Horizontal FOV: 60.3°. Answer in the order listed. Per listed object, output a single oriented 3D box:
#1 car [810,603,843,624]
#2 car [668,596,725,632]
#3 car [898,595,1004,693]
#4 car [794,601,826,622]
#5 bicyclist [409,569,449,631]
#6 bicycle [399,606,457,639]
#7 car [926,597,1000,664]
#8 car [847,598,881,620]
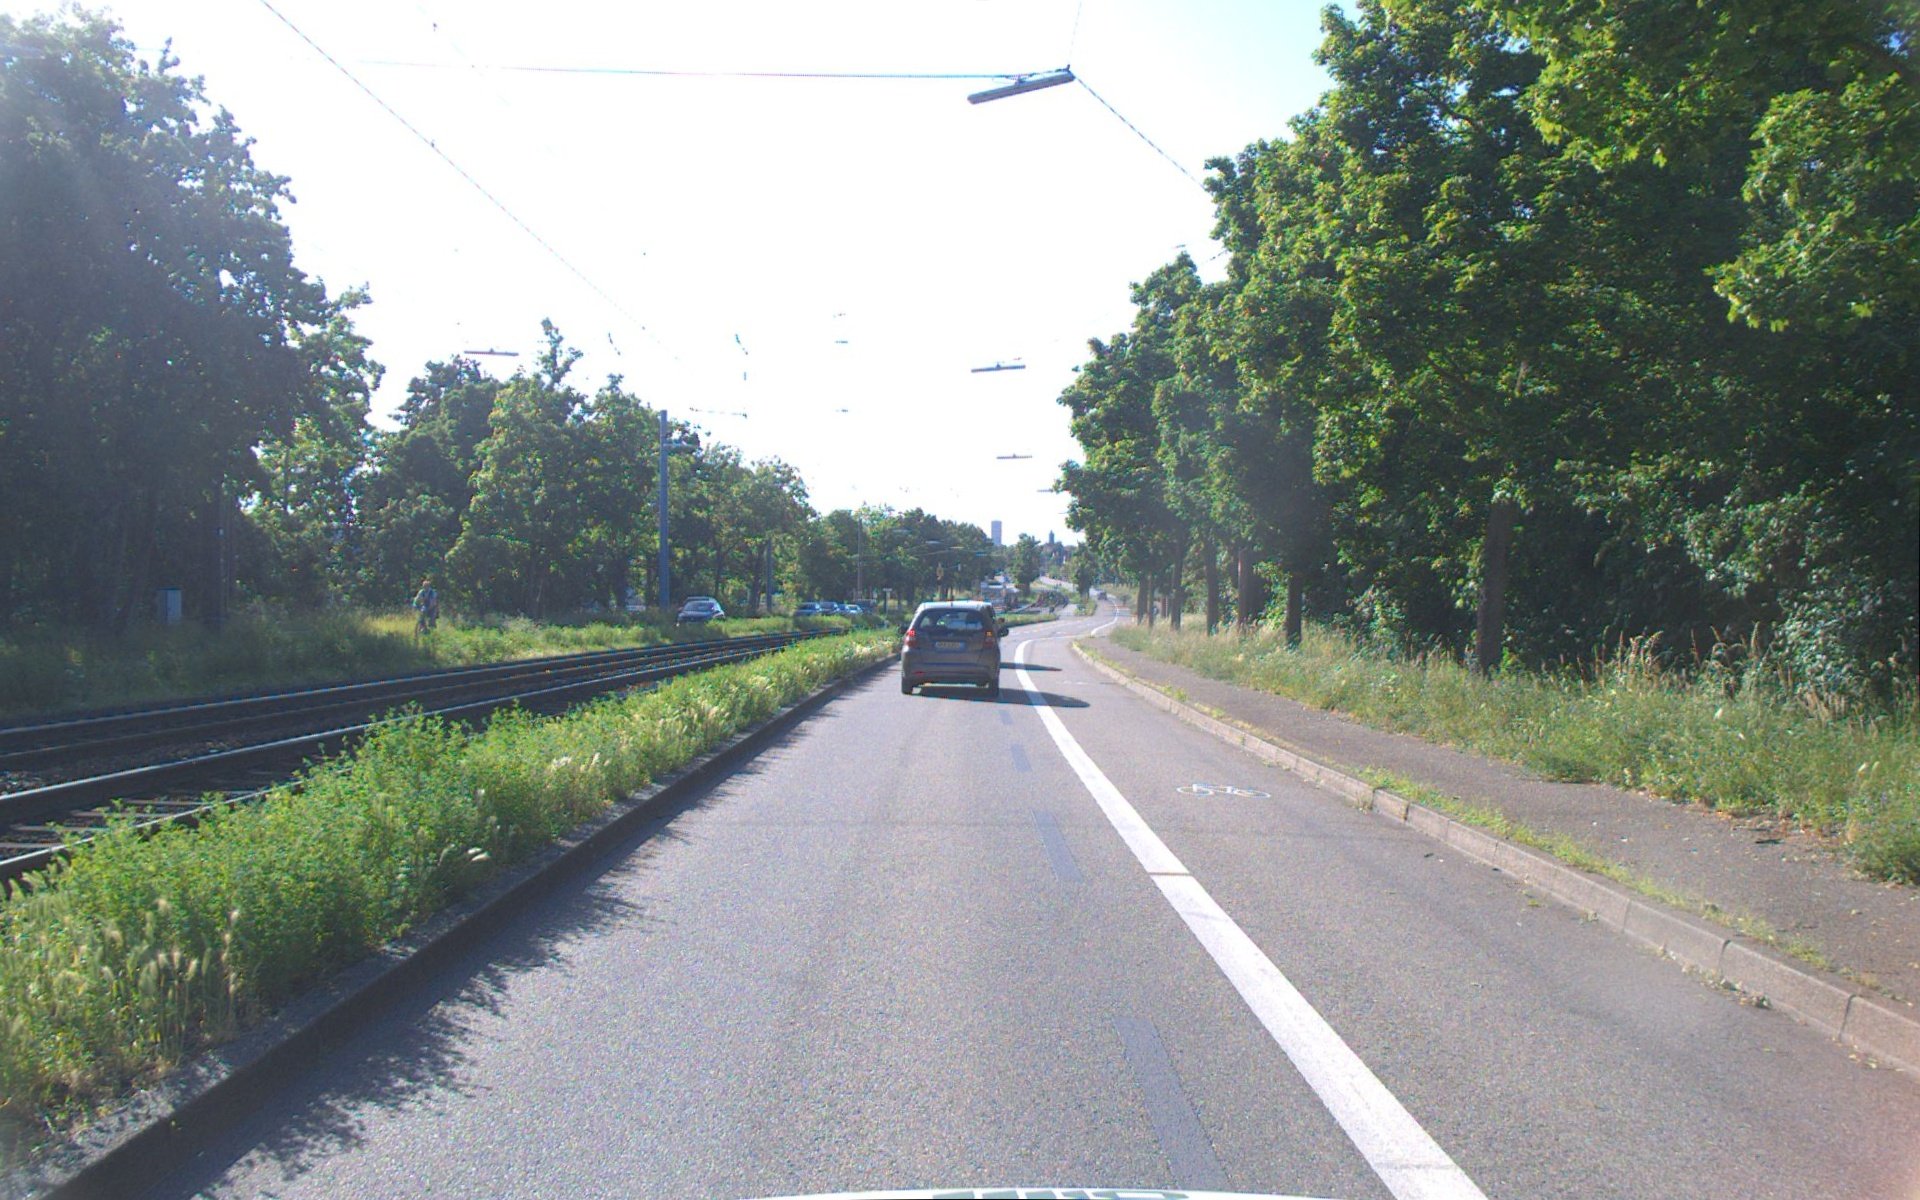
[{"bbox_3d":[-10.816,1.055,134.184,1.951,1.602,4.438,1,0,5],"label":"car"},{"bbox_3d":[-11.693,0.612,73.574,1.674,1.505,4.002,1,0,3],"label":"car"},{"bbox_3d":[-0.189,0.710,28.874,1.672,1.535,3.999,2,0,-1],"label":"car"},{"bbox_3d":[-11.551,0.904,127.424,1.699,1.520,4.330,3,0,5],"label":"car"},{"bbox_3d":[-15.435,0.015,48.093,0.802,1.767,0.902,1,0,1],"label":"bicyclist"},{"bbox_3d":[-15.449,0.645,48.103,0.801,0.930,2.538,1,0,2],"label":"bicycle"},{"bbox_3d":[0.126,0.771,43.648,1.812,1.634,4.255,1,0,2],"label":"car"},{"bbox_3d":[-8.846,0.829,152.416,2.150,1.924,4.795,1,0,9],"label":"car"}]
